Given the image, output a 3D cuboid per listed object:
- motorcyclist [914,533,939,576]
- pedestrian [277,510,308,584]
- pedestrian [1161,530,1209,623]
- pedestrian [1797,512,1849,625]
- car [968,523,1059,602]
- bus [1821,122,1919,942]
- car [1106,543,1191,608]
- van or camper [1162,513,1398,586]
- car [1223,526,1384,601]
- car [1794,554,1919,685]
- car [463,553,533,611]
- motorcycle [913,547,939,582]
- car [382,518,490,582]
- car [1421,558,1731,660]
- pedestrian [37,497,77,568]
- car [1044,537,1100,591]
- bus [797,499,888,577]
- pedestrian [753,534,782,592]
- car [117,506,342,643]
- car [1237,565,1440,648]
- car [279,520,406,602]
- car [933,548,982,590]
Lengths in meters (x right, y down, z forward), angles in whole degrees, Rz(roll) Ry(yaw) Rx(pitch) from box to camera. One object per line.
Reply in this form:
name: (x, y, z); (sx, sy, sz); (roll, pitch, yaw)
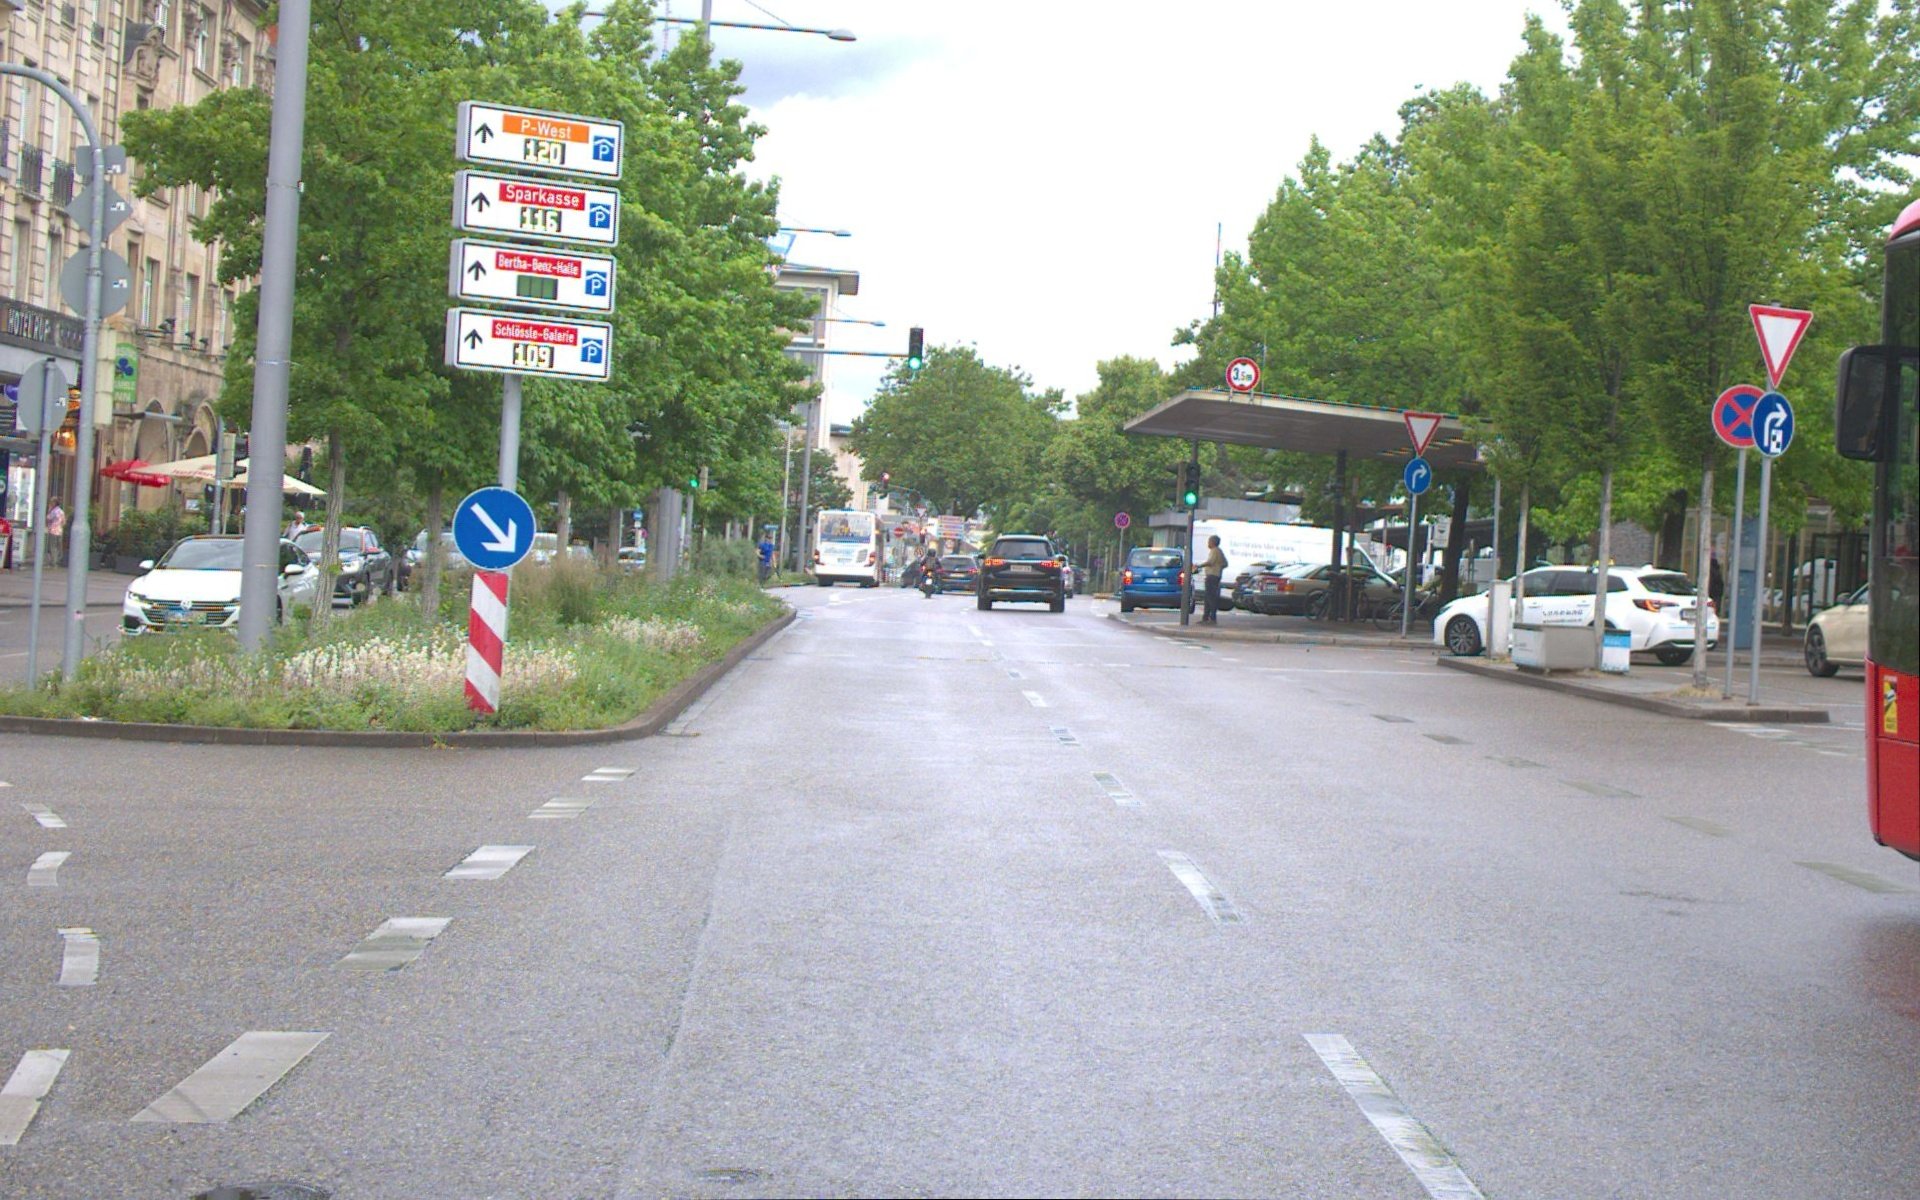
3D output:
motorcyclist: (-1.047, -1.441, 108.124); (0.764, 1.327, 0.866); (2, 1, 0)
pedestrian: (-15.900, -1.265, 81.914); (0.575, 1.726, 0.609); (2, 1, -1)
pedestrian: (4.357, -0.455, 66.566); (0.717, 1.785, 0.666); (1, 1, -12)
pedestrian: (18.511, -0.675, 73.748); (0.843, 2.403, 0.862); (1, 1, 1)
car: (1.239, -0.916, 81.750); (1.993, 1.800, 4.690); (1, 1, -1)
bus: (5.330, -0.175, 9.333); (2.742, 3.163, 10.196); (1, 1, -4)
car: (4.657, -0.623, 85.402); (1.816, 1.525, 4.000); (1, 1, -1)
van or camper: (9.598, -1.497, 102.834); (6.753, 2.007, 2.385); (1, 0, -26)
car: (9.653, -1.021, 96.652); (3.986, 2.007, 2.001); (1, 1, -20)
car: (12.614, 0.233, 44.304); (1.993, 1.594, 4.824); (1, 1, -7)
car: (-12.639, -0.498, 93.913); (1.754, 1.364, 4.061); (4, 1, -9)
motorcycle: (-1.059, -1.119, 108.065); (0.766, 1.073, 2.175); (2, 1, 0)
car: (-12.192, -1.174, 80.216); (1.755, 1.436, 4.060); (1, 1, 2)
car: (9.106, 0.110, 51.070); (1.774, 1.380, 4.366); (0, 1, -41)
pedestrian: (-19.574, -1.465, 74.527); (0.661, 1.505, 0.519); (1, 1, -38)
car: (3.966, -1.296, 122.218); (1.788, 1.853, 4.000); (1, 1, -1)
bus: (-5.256, -2.740, 152.185); (3.760, 3.198, 15.528); (1, 1, -2)
pedestrian: (-5.769, -1.109, 103.000); (0.758, 1.695, 0.559); (2, 1, 6)
car: (-9.330, -0.374, 44.279); (1.724, 1.376, 4.860); (2, 4, 1)
car: (9.060, 0.154, 82.284); (4.335, 1.851, 2.001); (1, 1, -20)
car: (-11.640, -0.756, 65.032); (1.630, 1.471, 4.026); (1, 1, 0)
car: (-0.094, -1.141, 124.888); (1.708, 1.443, 4.000); (1, 1, -1)
